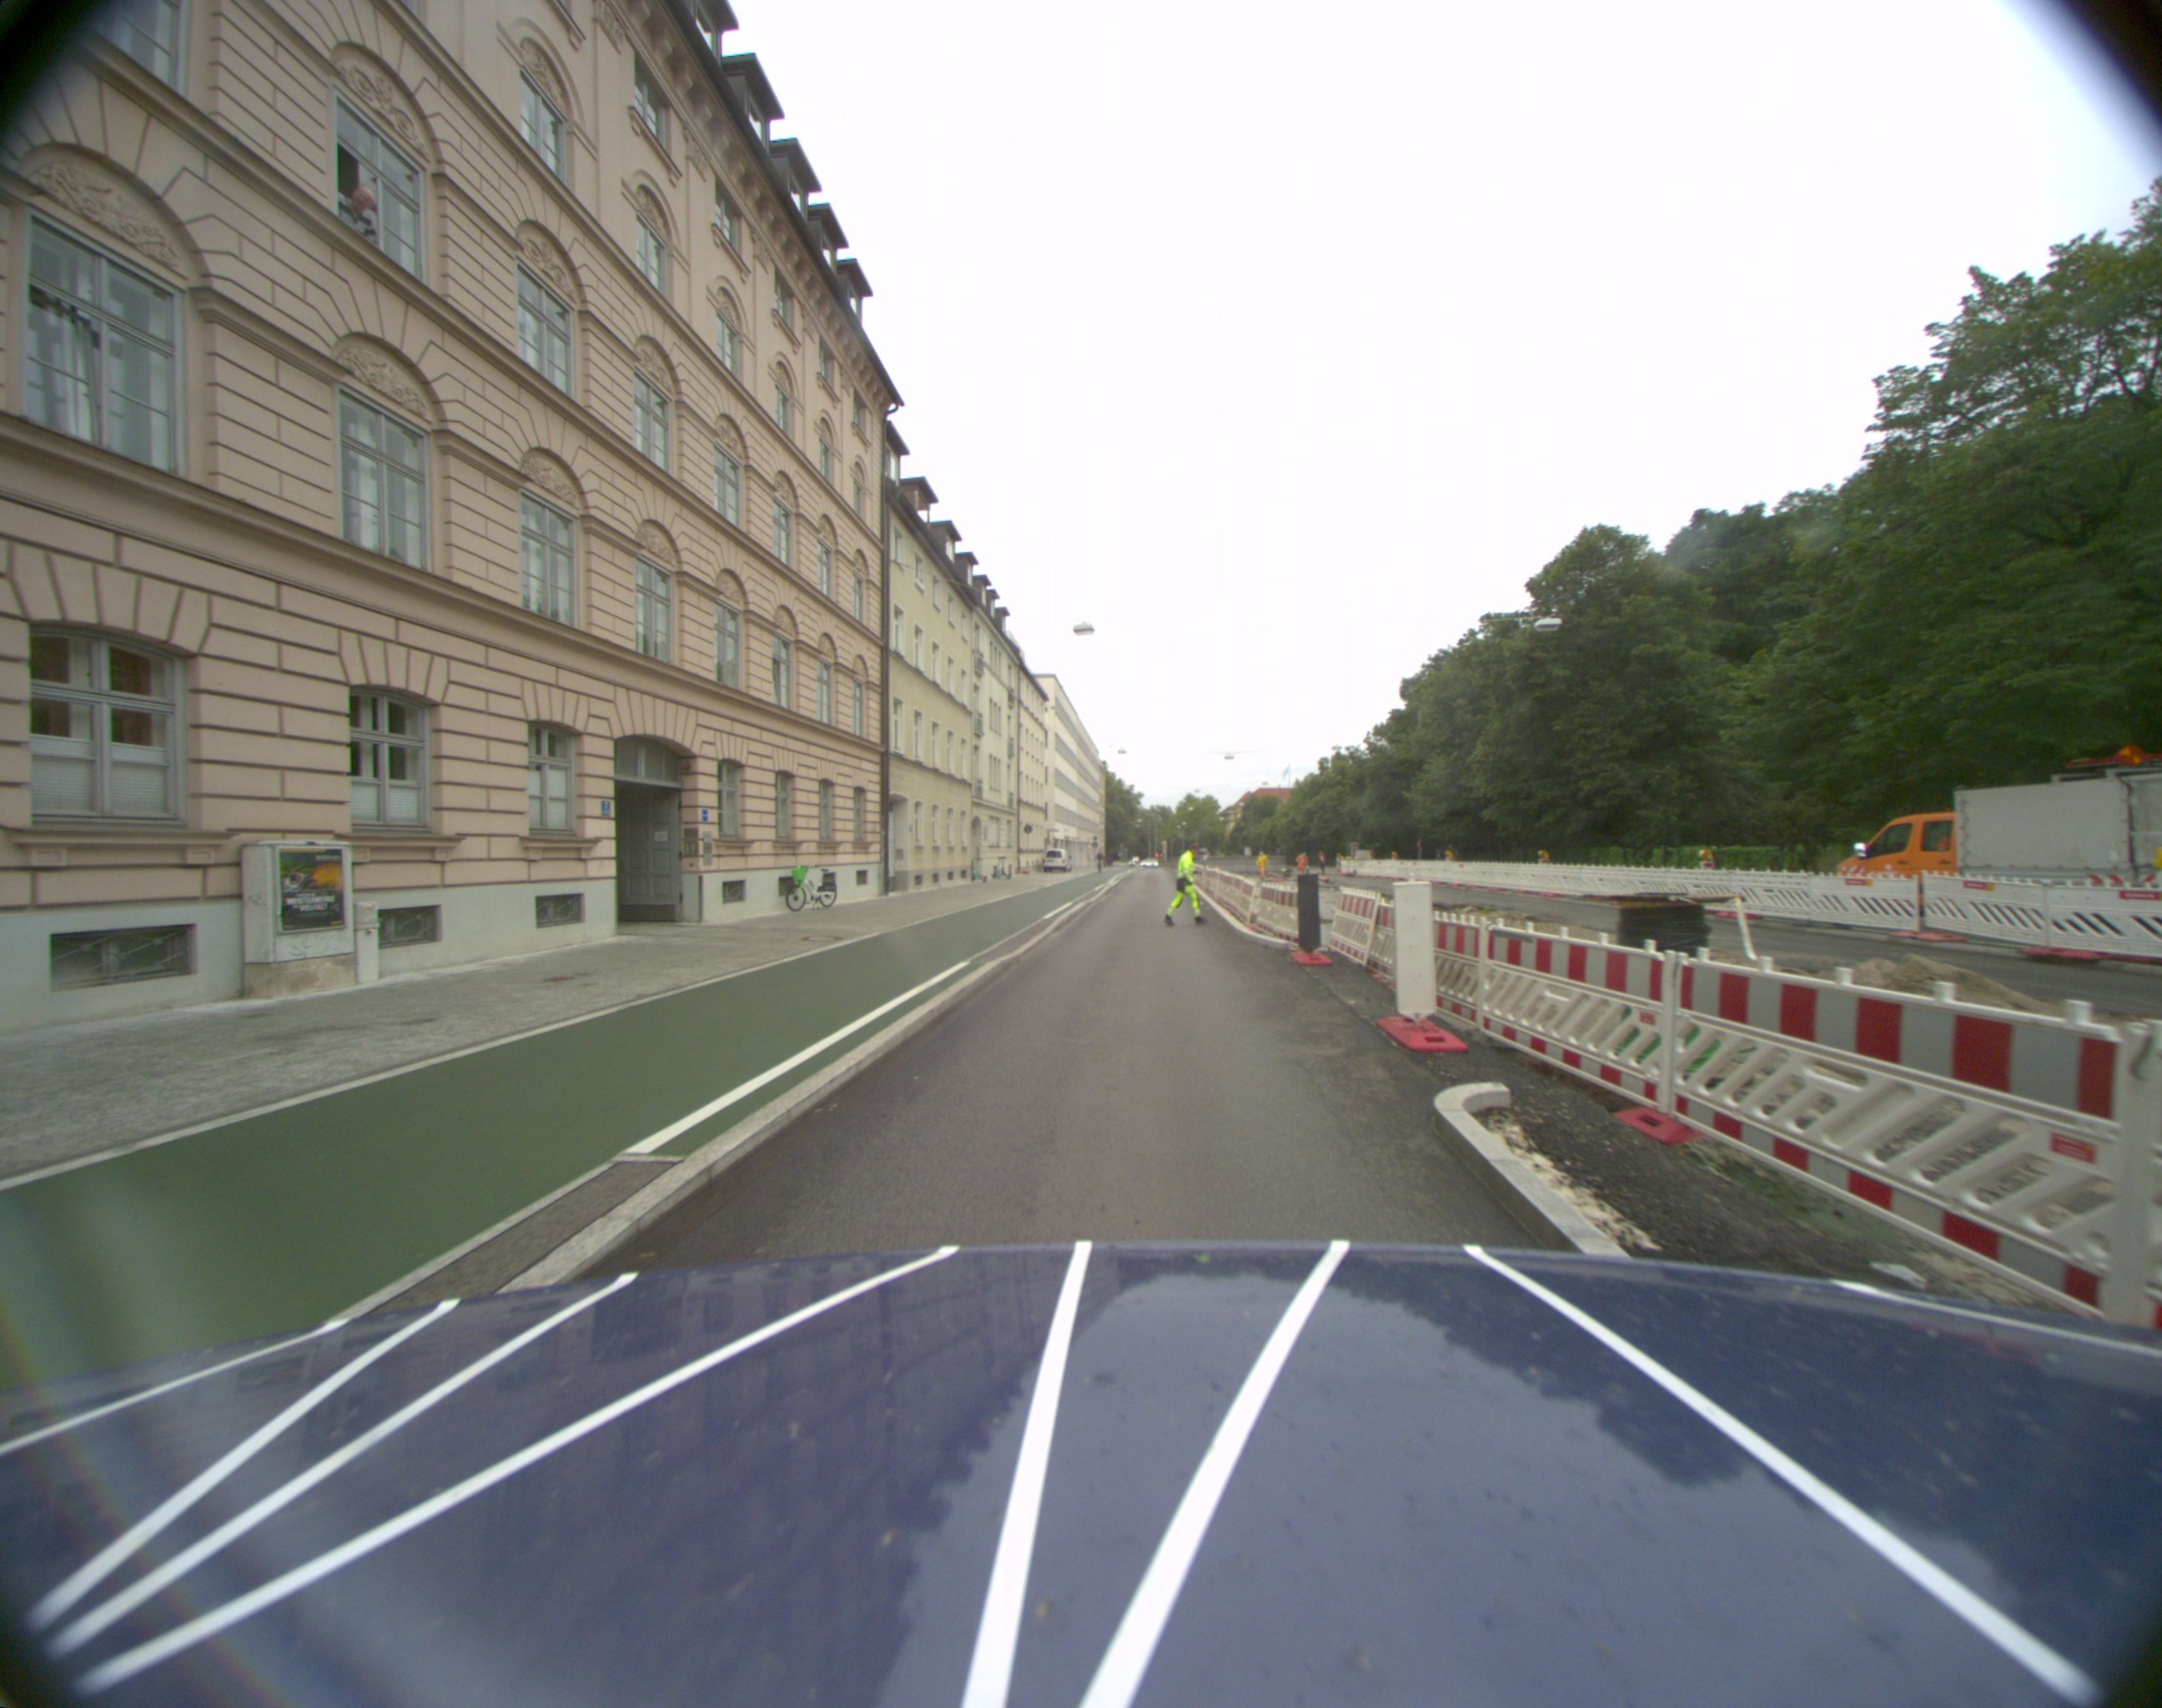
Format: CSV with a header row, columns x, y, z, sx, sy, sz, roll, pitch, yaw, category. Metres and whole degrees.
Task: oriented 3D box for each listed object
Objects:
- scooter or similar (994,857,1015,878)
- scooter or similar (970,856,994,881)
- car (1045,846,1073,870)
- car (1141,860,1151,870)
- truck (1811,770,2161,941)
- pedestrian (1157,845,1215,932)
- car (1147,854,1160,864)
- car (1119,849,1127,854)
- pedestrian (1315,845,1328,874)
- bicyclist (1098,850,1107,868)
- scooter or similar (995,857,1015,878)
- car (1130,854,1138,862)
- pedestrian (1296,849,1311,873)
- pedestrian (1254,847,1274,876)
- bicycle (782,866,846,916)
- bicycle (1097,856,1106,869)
x,y,z,sx,sy,sz,roll,pitch,yaw,category
-4.260,0.754,42.547,1.078,1.185,0.453,0,1,-24,scooter or similar
-4.919,0.701,37.774,0.552,1.238,1.079,1,1,40,scooter or similar
-1.696,0.284,60.000,1.765,1.821,4.001,0,1,5,car
14.178,2.299,164.401,1.997,2.002,4.001,-2,1,6,car
18.700,0.006,15.608,2.126,2.833,6.215,0,1,9,truck
2.240,0.709,16.281,0.993,1.793,0.814,-1,2,-16,pedestrian
12.130,0.815,126.651,1.758,1.461,4.000,-1,0,1,car
12.639,-0.688,228.334,1.998,1.560,4.001,0,0,5,car
16.612,0.385,52.535,0.666,1.959,0.807,1,1,31,pedestrian
1.696,0.396,60.230,0.632,1.459,0.653,0,1,-1,bicyclist
-4.397,0.758,43.902,1.079,1.185,0.436,0,1,-34,scooter or similar
13.875,1.082,200.035,1.998,2.002,4.000,-2,1,4,car
15.625,0.491,53.407,0.899,1.678,0.912,0,1,9,pedestrian
11.446,0.475,47.604,0.877,1.826,0.858,-1,1,-41,pedestrian
-6.753,0.904,19.302,0.556,1.170,1.728,1,1,20,bicycle
1.625,0.664,60.216,0.632,1.031,2.017,0,1,-1,bicycle
